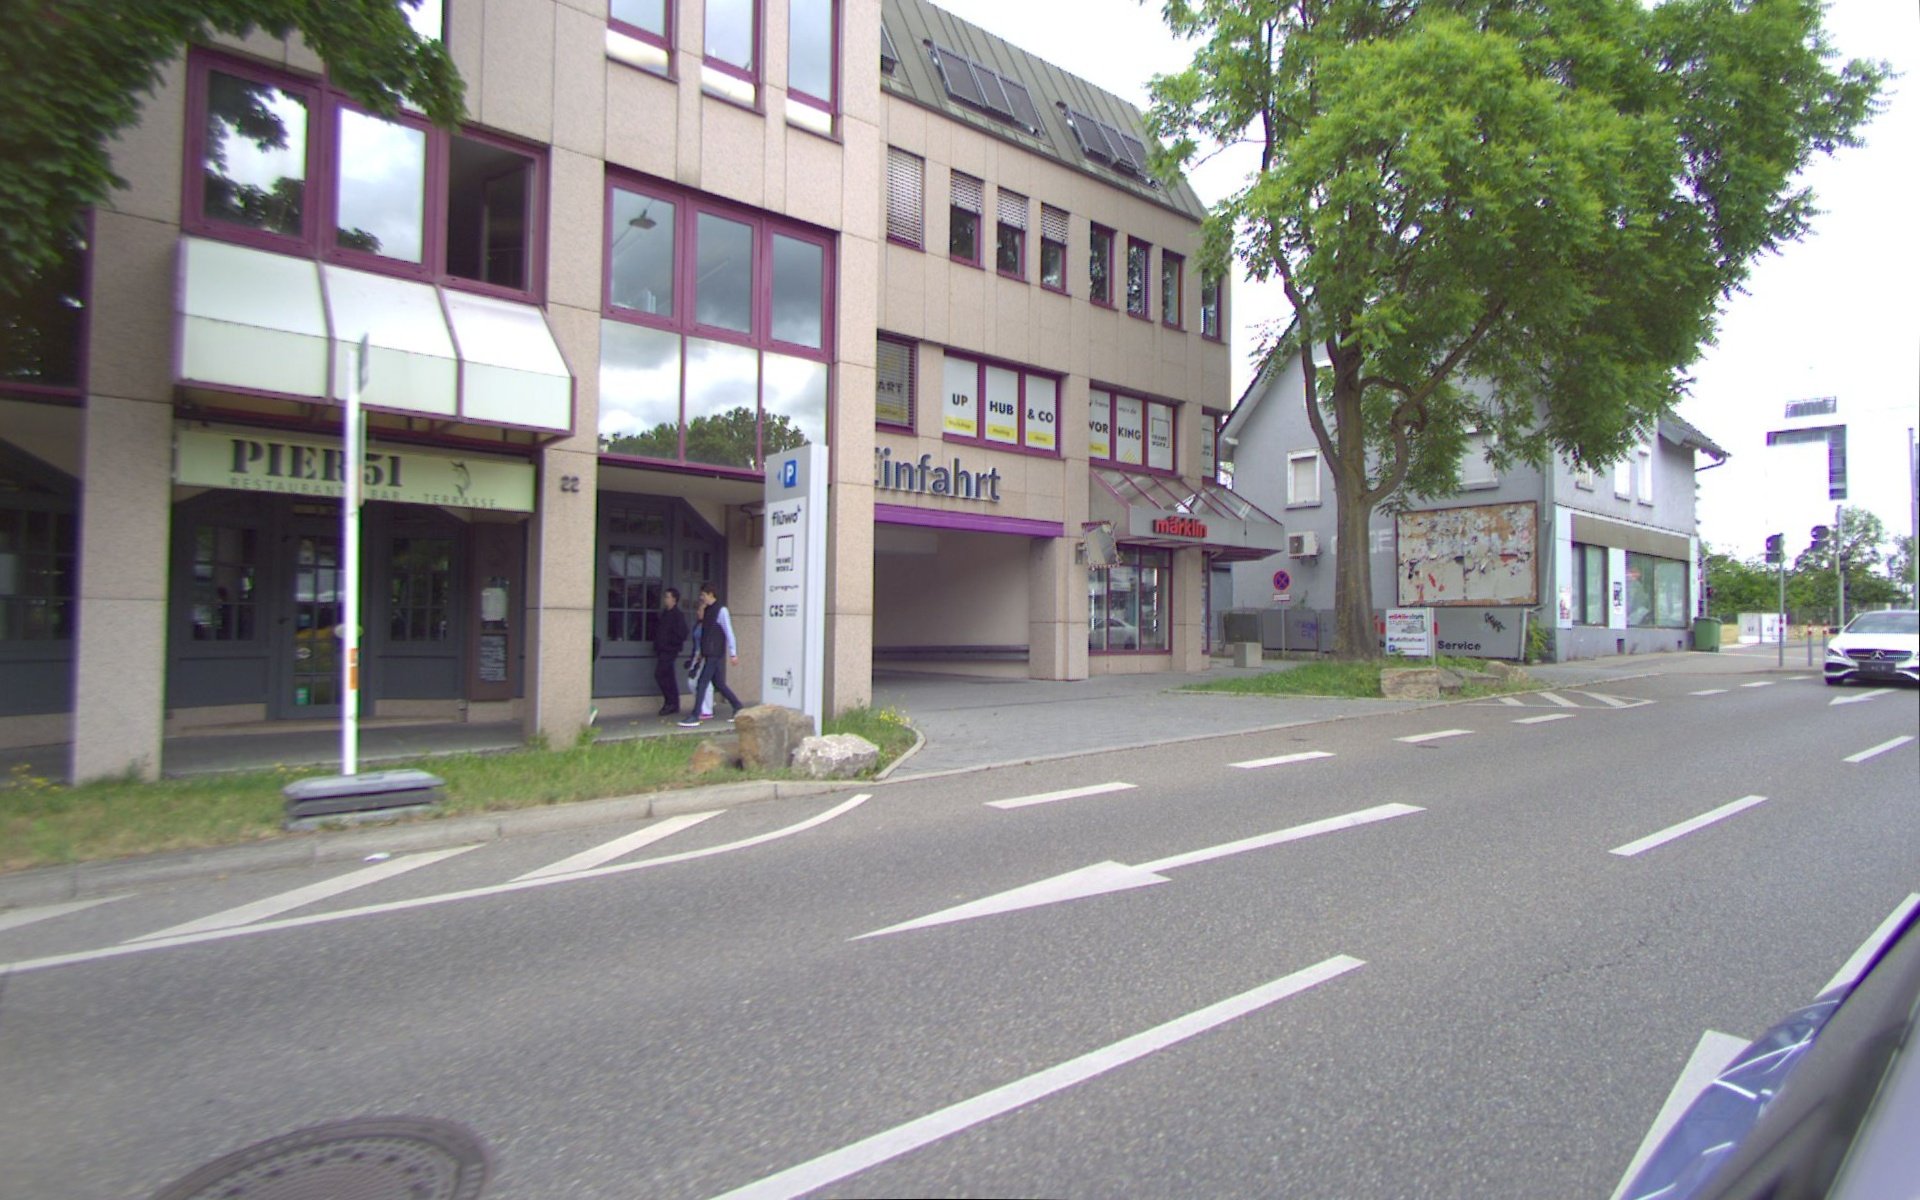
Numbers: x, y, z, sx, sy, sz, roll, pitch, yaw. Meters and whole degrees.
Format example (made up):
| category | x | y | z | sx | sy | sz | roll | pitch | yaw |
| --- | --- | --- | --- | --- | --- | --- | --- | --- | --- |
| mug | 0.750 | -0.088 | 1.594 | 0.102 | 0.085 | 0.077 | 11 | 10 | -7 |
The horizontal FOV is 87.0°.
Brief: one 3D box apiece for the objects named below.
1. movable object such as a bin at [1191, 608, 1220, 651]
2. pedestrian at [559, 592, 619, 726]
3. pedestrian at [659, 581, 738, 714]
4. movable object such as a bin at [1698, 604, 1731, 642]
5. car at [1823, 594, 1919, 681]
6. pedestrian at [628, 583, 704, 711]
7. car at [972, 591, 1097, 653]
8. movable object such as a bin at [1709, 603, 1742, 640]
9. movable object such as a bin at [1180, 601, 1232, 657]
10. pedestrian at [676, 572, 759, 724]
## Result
| category | x | y | z | sx | sy | sz | roll | pitch | yaw |
| --- | --- | --- | --- | --- | --- | --- | --- | --- | --- |
| movable object such as a bin | 6.266 | 0.736 | 25.870 | 0.550 | 1.080 | 0.489 | 0 | -1 | -40 |
| pedestrian | -4.517 | 0.697 | 12.309 | 0.534 | 1.569 | 0.562 | 0 | 1 | -38 |
| pedestrian | -3.507 | 0.602 | 13.585 | 0.827 | 1.712 | 0.659 | 0 | 1 | -38 |
| movable object such as a bin | 22.625 | 0.688 | 30.338 | 0.697 | 1.118 | 0.610 | 0 | -1 | -39 |
| car | 18.432 | 0.647 | 19.511 | 4.613 | 1.491 | 1.798 | -1 | 0 | -38 |
| pedestrian | -4.103 | 0.628 | 14.103 | 0.827 | 1.712 | 0.659 | 0 | 1 | -38 |
| car | 2.573 | 0.728 | 35.901 | 2.079 | 2.039 | 4.282 | 0 | 0 | -38 |
| movable object such as a bin | 23.274 | 0.649 | 30.767 | 0.697 | 1.118 | 0.627 | 0 | -1 | -39 |
| movable object such as a bin | 6.544 | 0.759 | 26.899 | 1.067 | 1.431 | 0.886 | 0 | -1 | -40 |
| pedestrian | -3.086 | 0.576 | 12.872 | 0.827 | 1.849 | 0.659 | 0 | 1 | -38 |
